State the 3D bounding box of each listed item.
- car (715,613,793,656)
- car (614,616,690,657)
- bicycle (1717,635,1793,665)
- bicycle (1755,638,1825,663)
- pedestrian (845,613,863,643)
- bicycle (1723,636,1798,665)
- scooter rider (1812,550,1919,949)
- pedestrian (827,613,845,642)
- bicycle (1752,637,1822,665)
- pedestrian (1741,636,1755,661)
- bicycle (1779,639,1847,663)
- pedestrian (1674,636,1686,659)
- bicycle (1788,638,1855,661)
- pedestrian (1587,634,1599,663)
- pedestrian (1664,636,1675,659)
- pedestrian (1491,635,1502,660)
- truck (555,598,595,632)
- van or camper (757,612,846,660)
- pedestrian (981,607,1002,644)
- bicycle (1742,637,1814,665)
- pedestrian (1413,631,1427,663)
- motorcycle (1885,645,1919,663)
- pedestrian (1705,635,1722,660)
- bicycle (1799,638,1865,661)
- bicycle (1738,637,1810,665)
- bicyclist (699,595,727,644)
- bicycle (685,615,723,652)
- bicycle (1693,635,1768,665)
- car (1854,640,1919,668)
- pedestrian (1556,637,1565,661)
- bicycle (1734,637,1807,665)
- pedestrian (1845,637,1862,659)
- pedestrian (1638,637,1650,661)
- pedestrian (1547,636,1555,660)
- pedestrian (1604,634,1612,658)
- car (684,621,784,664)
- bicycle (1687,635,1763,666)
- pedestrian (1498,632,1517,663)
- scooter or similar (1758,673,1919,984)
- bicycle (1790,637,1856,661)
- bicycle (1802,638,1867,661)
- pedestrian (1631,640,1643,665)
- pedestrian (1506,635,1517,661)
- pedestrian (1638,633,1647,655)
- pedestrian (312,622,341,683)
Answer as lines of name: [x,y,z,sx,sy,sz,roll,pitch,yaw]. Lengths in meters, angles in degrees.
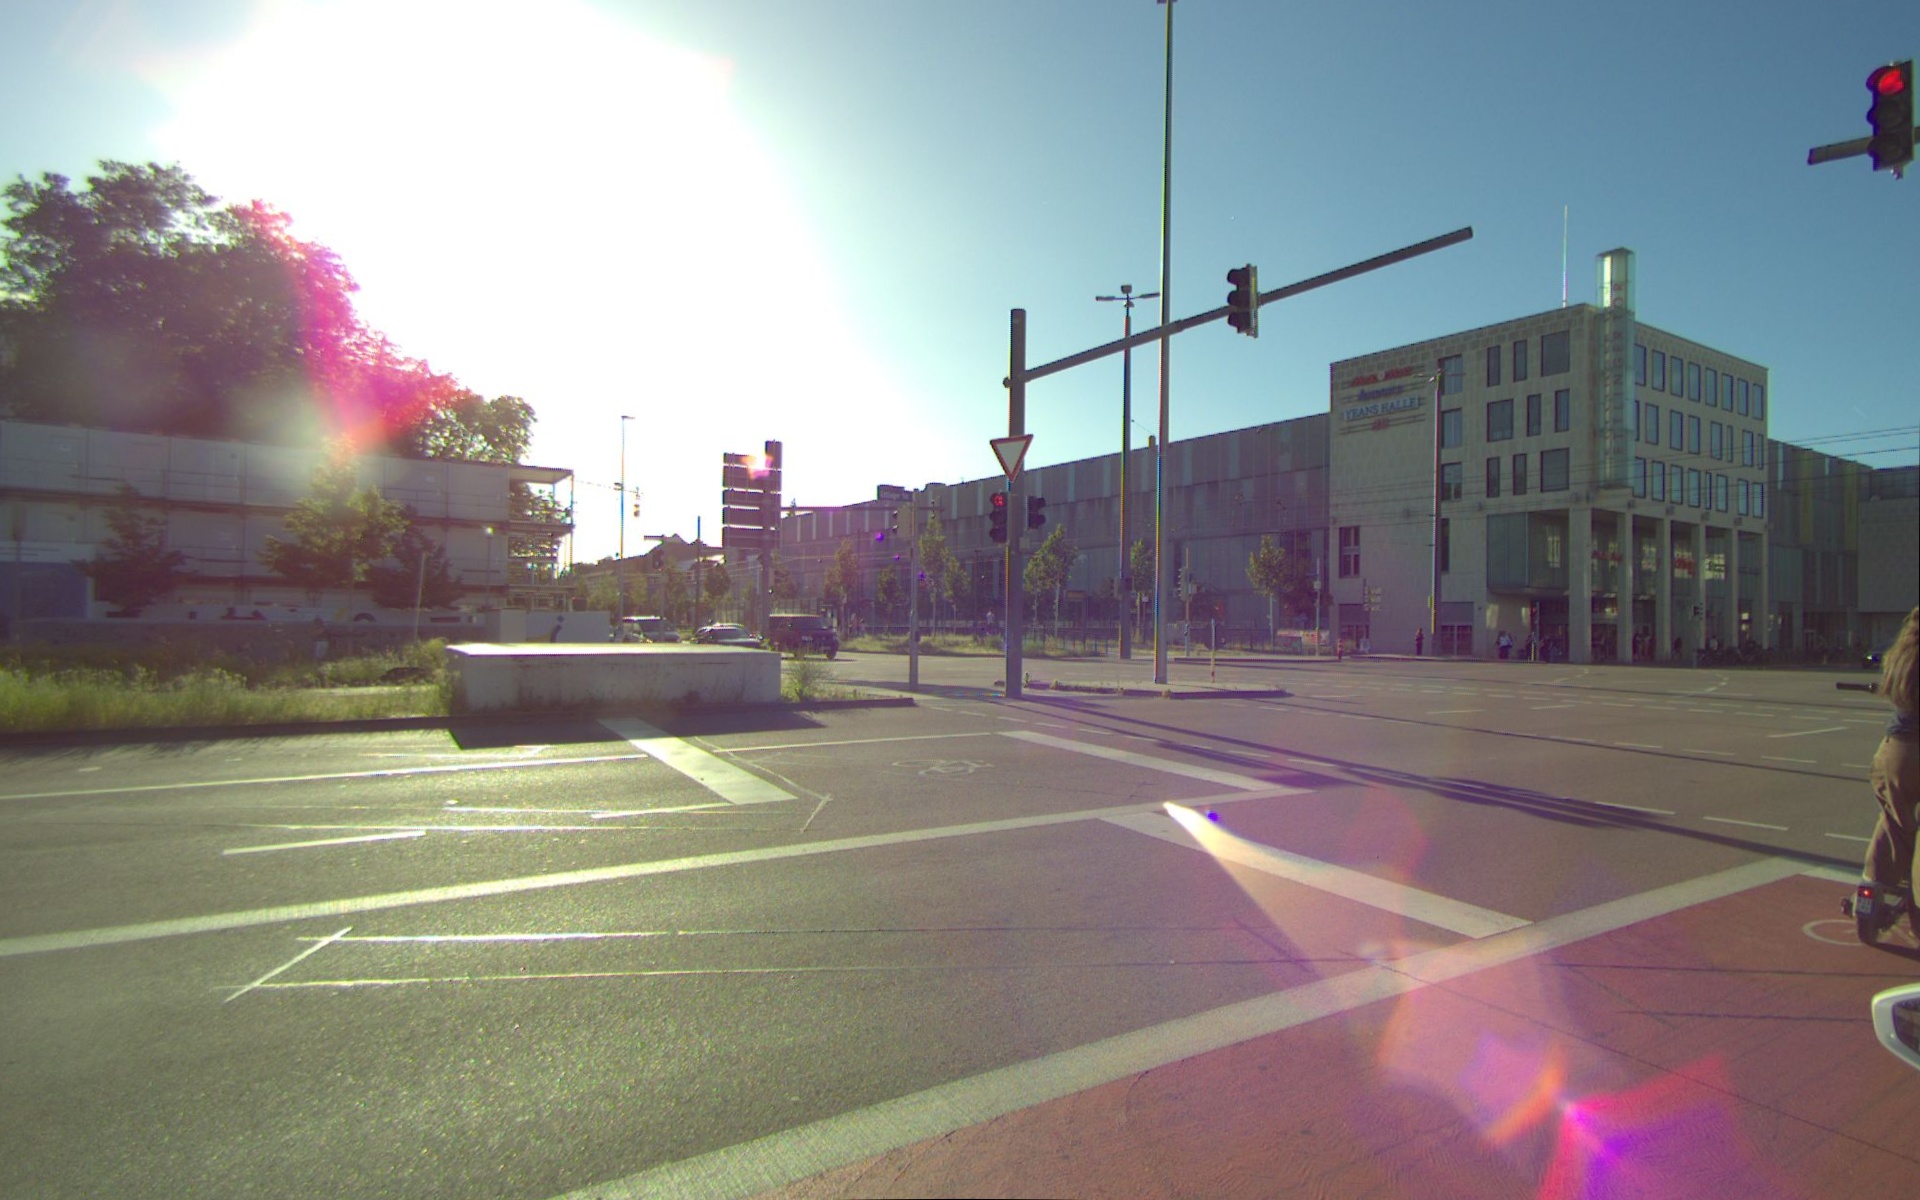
car: [-10.391,1.701,50.419,1.981,2.040,4.821,1,-2,-36]
car: [-14.819,1.709,48.130,1.981,1.849,4.821,1,-2,-36]
bicycle: [48.216,3.022,60.930,1.107,1.719,3.465,1,-2,-38]
bicycle: [55.258,3.339,66.911,0.979,1.547,3.462,2,-2,-40]
pedestrian: [-6.614,1.772,62.720,0.889,1.855,0.787,1,-1,-35]
bicycle: [49.145,3.089,61.730,1.107,1.719,3.465,1,-2,-38]
scooter rider: [4.670,0.683,4.768,0.801,1.798,0.725,1,-1,-30]
pedestrian: [-8.084,1.802,65.434,0.889,1.855,0.787,1,-1,-35]
bicycle: [54.507,3.330,66.243,0.979,1.719,3.462,2,-2,-40]
pedestrian: [54.718,3.363,69.729,0.689,1.664,0.648,1,-1,-38]
bicycle: [58.877,3.489,69.379,0.979,1.547,3.462,2,-2,-40]
pedestrian: [50.370,3.328,70.290,0.592,1.606,0.479,1,-1,-34]
bicycle: [60.384,3.444,70.460,0.979,1.547,3.462,2,-2,-40]
pedestrian: [36.942,2.801,58.600,0.532,1.664,0.549,0,-1,28]
pedestrian: [49.909,3.352,70.657,0.592,1.606,0.479,1,-1,-34]
pedestrian: [33.615,2.965,62.934,0.452,1.586,0.420,1,-1,-30]
truck: [-33.473,1.334,87.255,1.979,2.875,6.293,1,-2,-33]
van or camper: [-7.255,1.599,45.608,1.981,2.040,4.821,1,-2,-36]
pedestrian: [1.585,1.273,50.593,0.788,1.855,0.706,1,-1,-37]
bicycle: [52.861,3.268,64.953,0.979,1.719,3.462,2,-2,-40]
pedestrian: [24.450,2.498,53.375,0.543,1.716,0.521,1,-1,-40]
motorcycle: [70.749,4.028,75.072,0.713,1.335,2.260,1,-2,-34]
pedestrian: [50.750,3.212,67.638,0.689,1.664,0.778,1,-1,-39]
bicycle: [62.669,3.535,72.242,0.979,1.547,3.462,2,-2,-40]
bicycle: [51.947,3.236,64.149,0.979,1.719,3.462,2,-2,-40]
bicyclist: [-13.777,1.113,55.928,1.007,2.677,1.610,1,-1,-34]
bicycle: [-14.547,1.894,57.059,1.007,2.040,3.472,1,-2,-33]
bicycle: [46.592,2.984,60.800,1.107,1.719,3.465,1,-2,-38]
car: [53.526,3.086,57.921,3.956,1.505,1.982,1,-1,-33]
pedestrian: [36.406,2.956,60.918,0.380,1.431,0.438,0,-1,21]
bicycle: [51.121,3.199,63.415,0.979,1.719,3.462,2,-2,-40]
pedestrian: [68.771,3.713,77.350,0.685,1.664,0.695,0,-1,4]
pedestrian: [44.996,3.214,66.058,0.508,1.530,0.479,1,-1,-34]
pedestrian: [35.965,2.901,61.114,0.380,1.445,0.502,0,-1,23]
pedestrian: [44.219,3.160,68.549,0.363,1.606,0.384,1,-1,-34]
car: [-9.400,1.709,41.513,2.313,1.671,4.821,2,-2,-37]
bicycle: [45.700,2.986,60.024,1.107,1.719,3.465,1,-2,-38]
pedestrian: [32.762,2.845,60.135,0.729,1.822,0.752,1,-1,-34]
scooter or similar: [4.565,0.987,4.727,1.645,1.218,0.725,1,-1,-30]
bicycle: [61.191,3.461,71.292,0.979,1.547,3.462,2,-2,-40]
bicycle: [63.709,3.600,73.191,0.979,1.547,3.462,2,-2,-40]
pedestrian: [44.356,3.412,65.790,0.508,1.606,0.479,1,-1,-34]
pedestrian: [34.255,2.982,62.366,0.452,1.586,0.420,1,-1,-30]
pedestrian: [46.527,3.011,68.489,0.363,1.458,0.384,1,-1,-34]
pedestrian: [-17.708,1.459,28.079,0.619,1.674,0.935,1,-1,-30]
